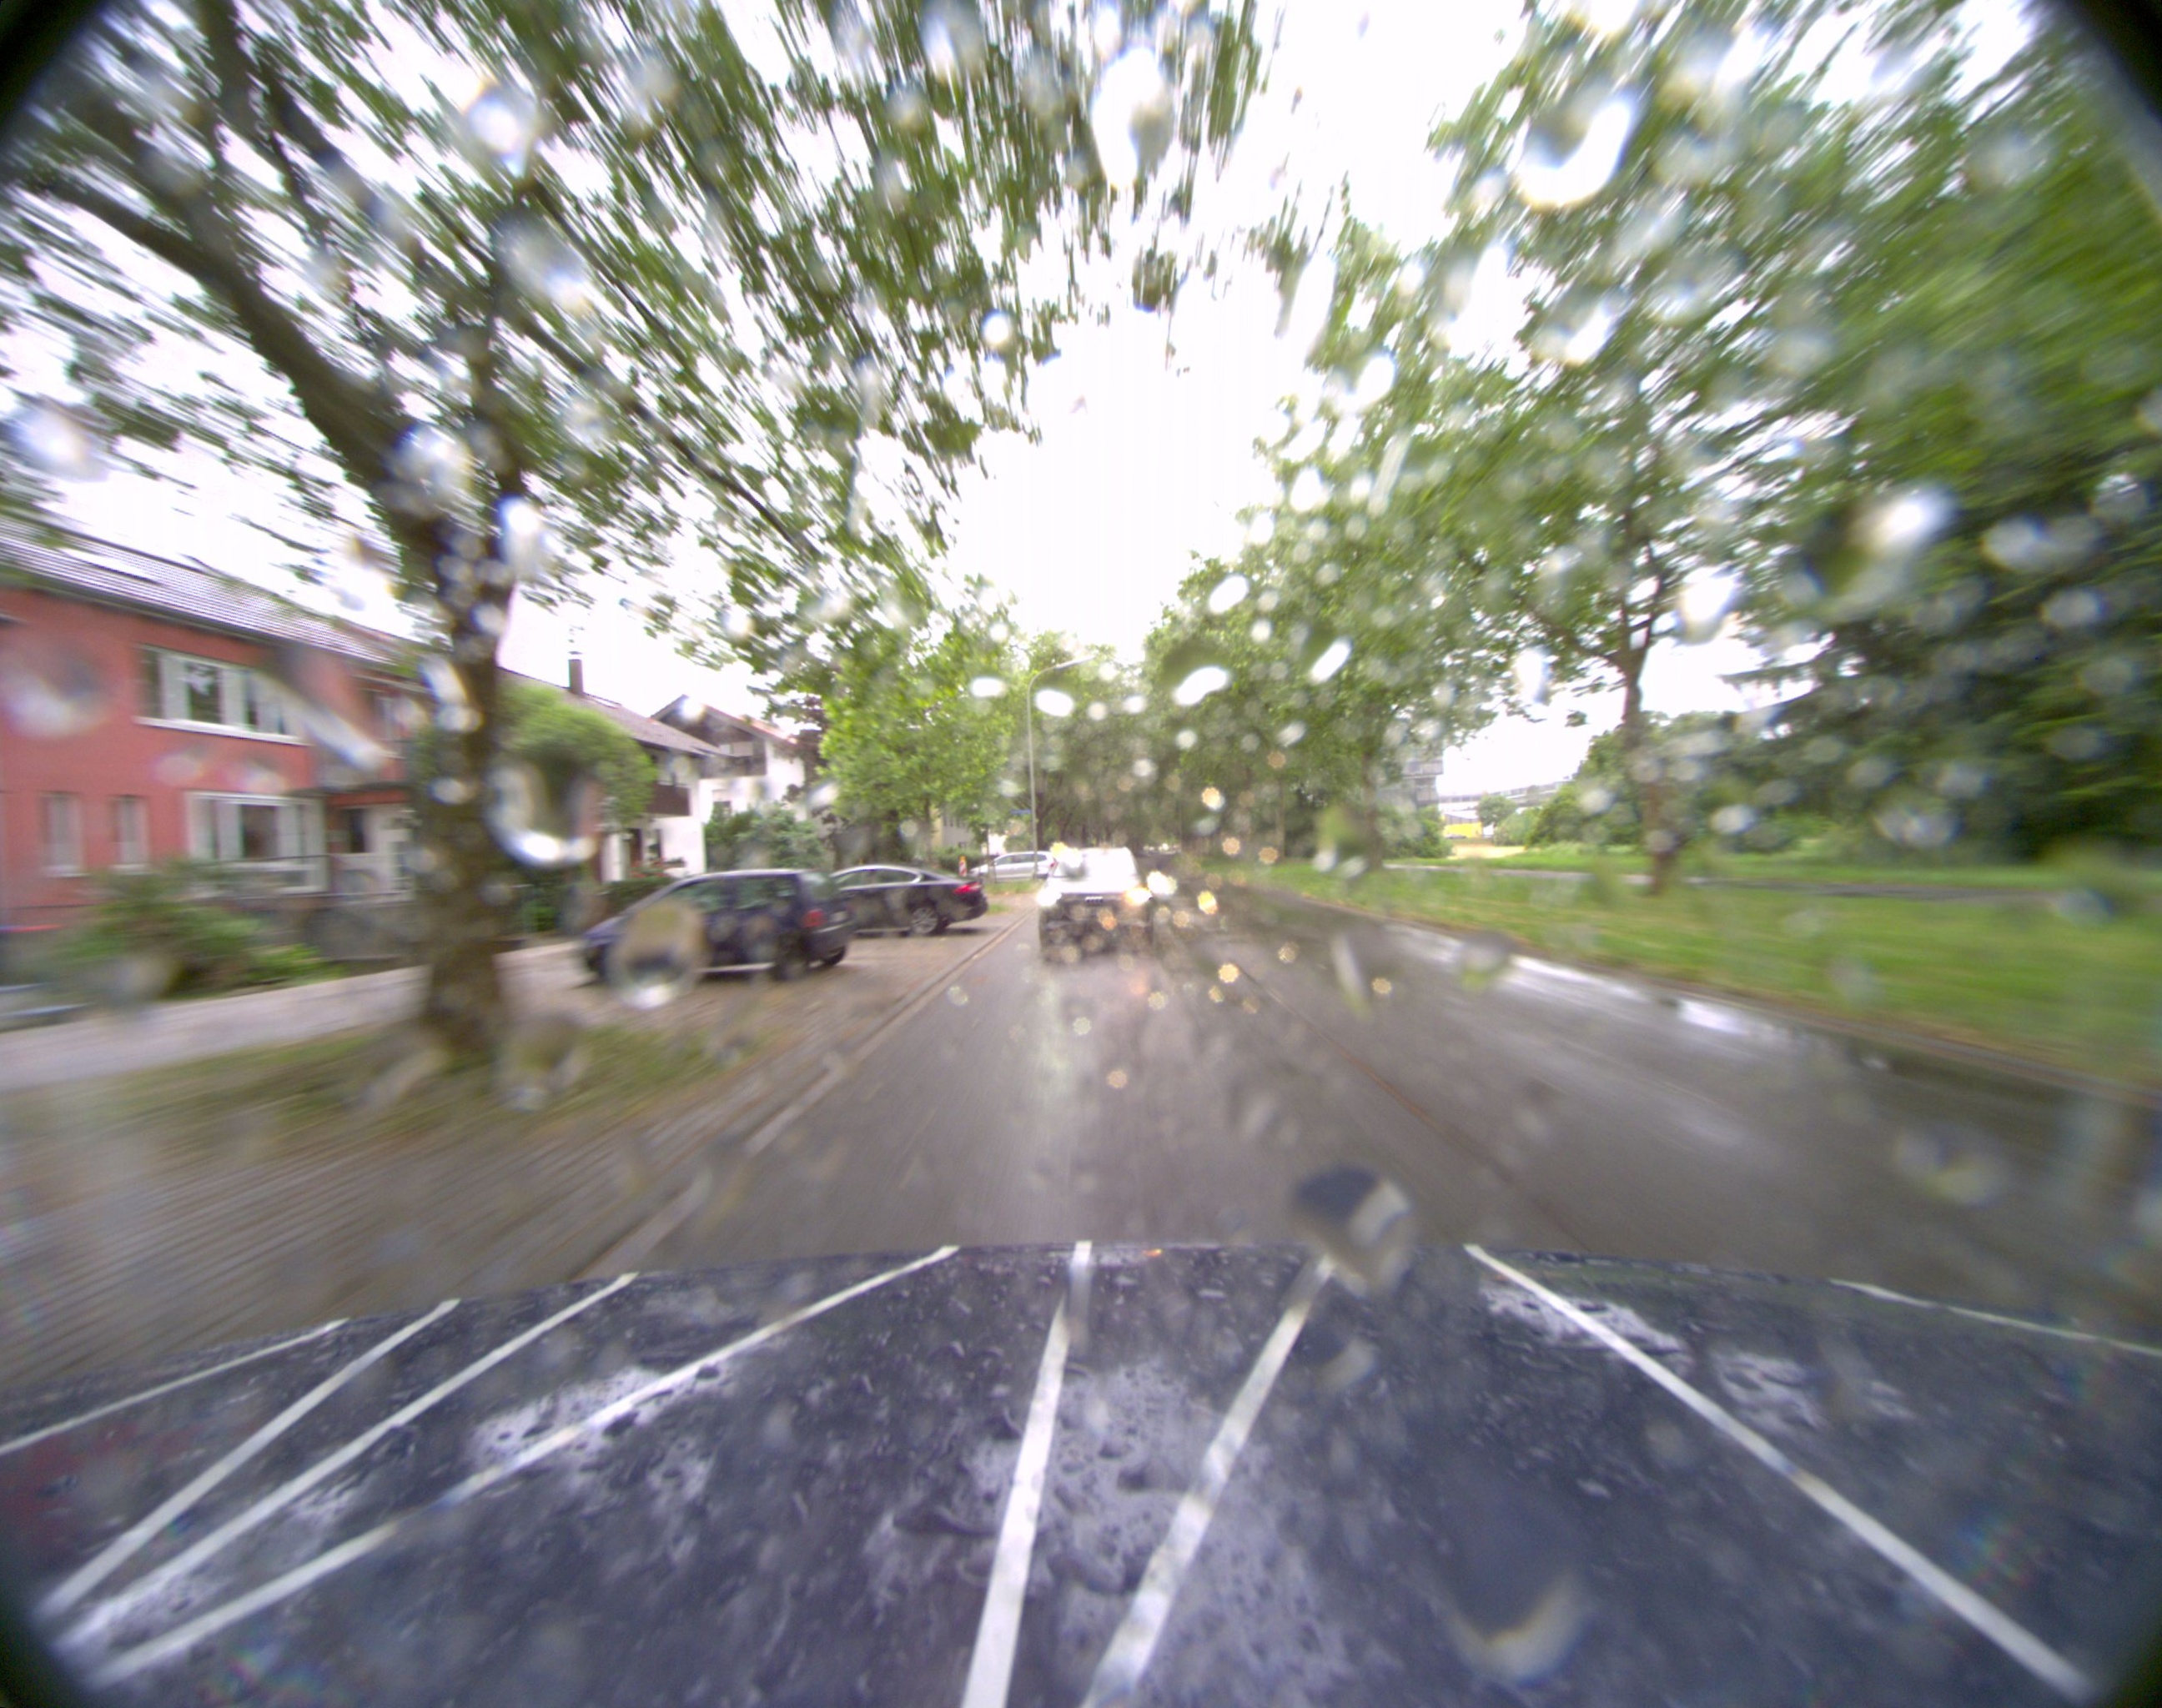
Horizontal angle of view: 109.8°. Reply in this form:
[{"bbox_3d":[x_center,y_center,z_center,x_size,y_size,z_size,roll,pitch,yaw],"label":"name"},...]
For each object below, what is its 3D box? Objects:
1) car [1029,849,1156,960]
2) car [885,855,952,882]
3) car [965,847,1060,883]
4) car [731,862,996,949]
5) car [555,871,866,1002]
[{"bbox_3d":[0.299,0.760,13.736,1.862,1.608,4.424,-2,0,3],"label":"car"},{"bbox_3d":[-10.651,0.930,49.894,3.852,1.603,1.843,-2,0,5],"label":"car"},{"bbox_3d":[-3.503,0.548,39.592,4.700,1.651,1.976,-2,0,1],"label":"car"},{"bbox_3d":[-4.234,0.982,15.426,4.779,1.464,1.937,-2,0,-2],"label":"car"},{"bbox_3d":[-4.872,1.052,10.317,3.363,1.455,1.619,-3,0,2],"label":"car"}]
